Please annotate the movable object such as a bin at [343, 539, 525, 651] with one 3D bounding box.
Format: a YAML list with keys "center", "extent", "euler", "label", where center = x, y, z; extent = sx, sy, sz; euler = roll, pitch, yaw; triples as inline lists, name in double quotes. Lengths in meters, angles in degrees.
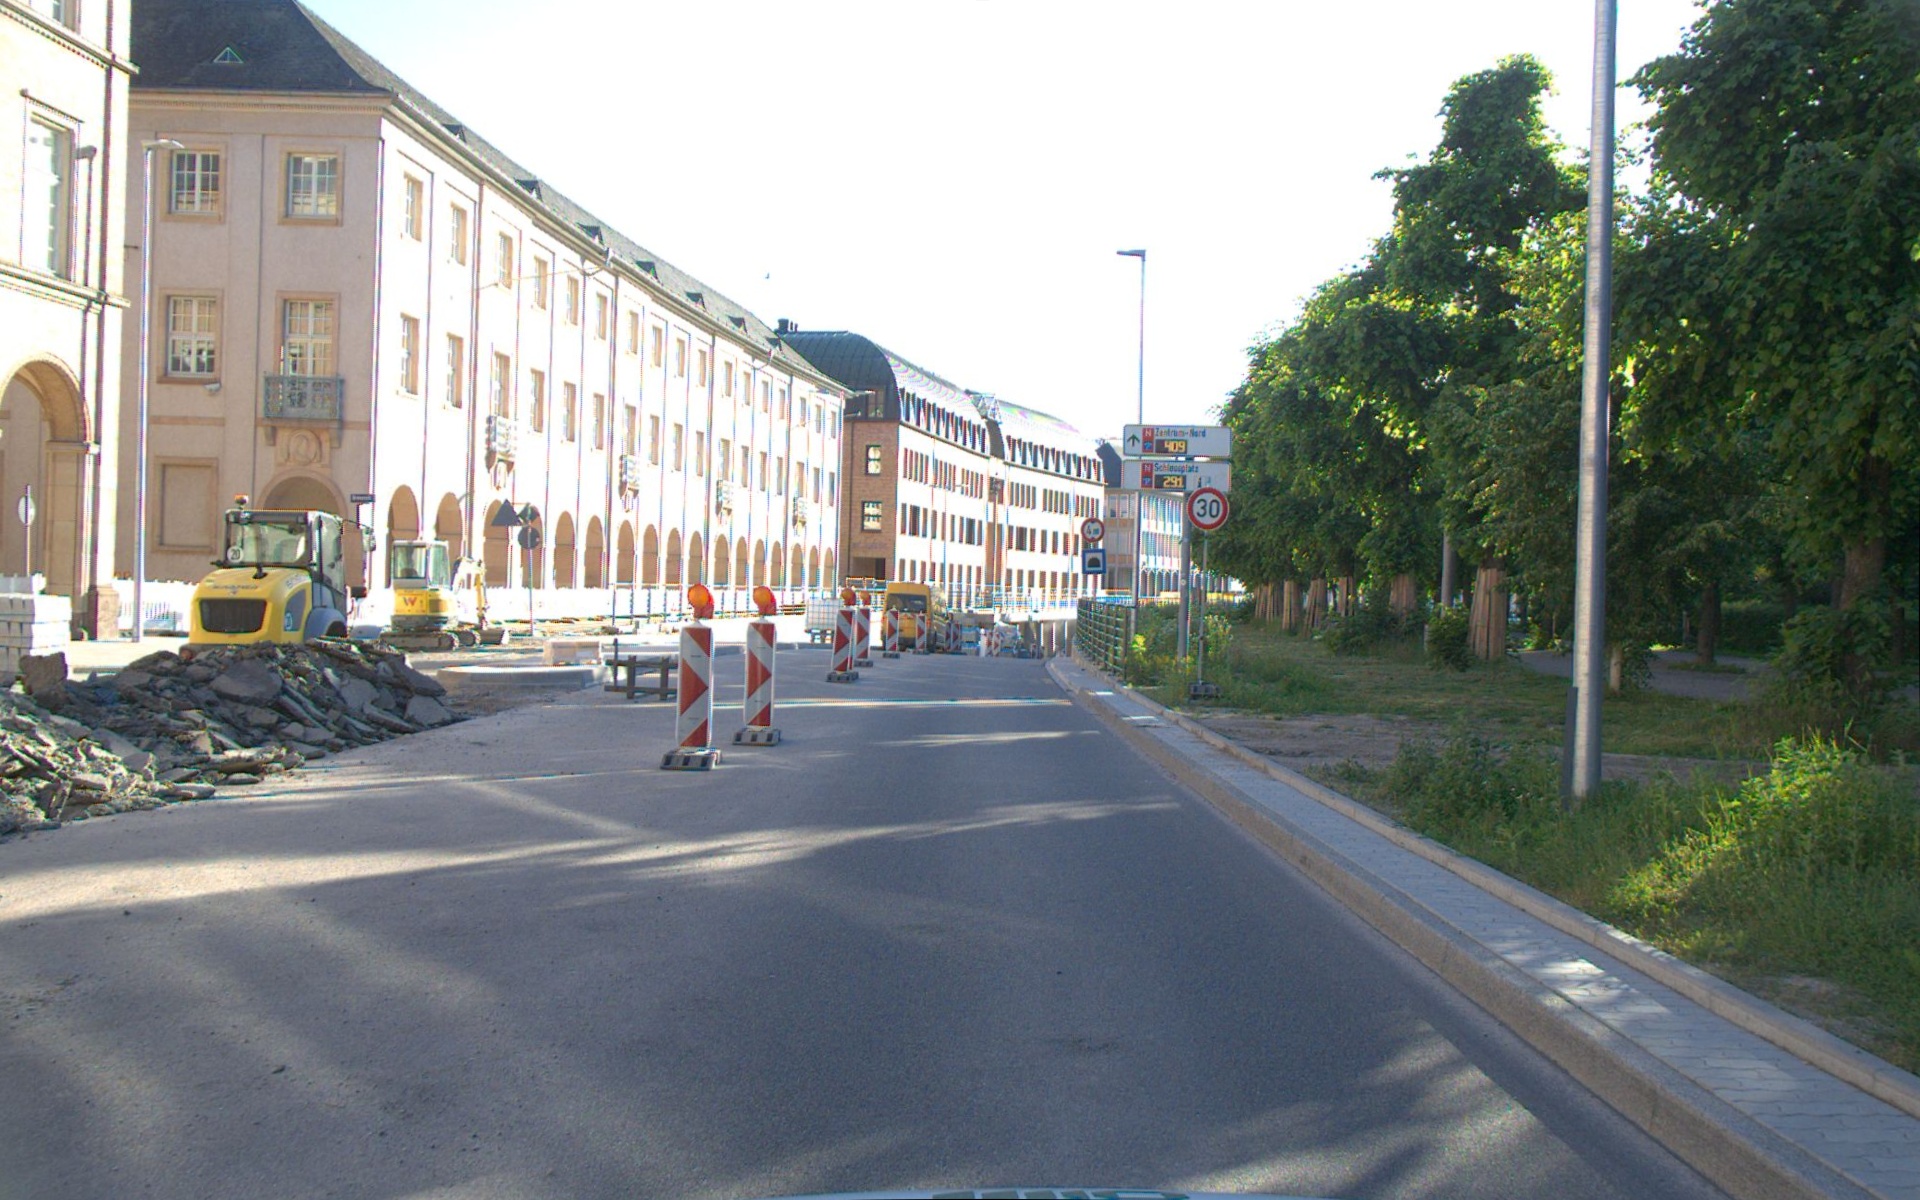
- center: [-12.150, -0.117, 38.595]
  extent: [2.492, 2.390, 4.462]
  euler: [1, 0, 4]
  label: "movable object such as a bin"

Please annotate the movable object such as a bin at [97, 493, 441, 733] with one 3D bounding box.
- center: [-8.170, 0.085, 20.115]
  extent: [2.031, 2.518, 4.619]
  euler: [2, 1, 2]
  label: "movable object such as a bin"

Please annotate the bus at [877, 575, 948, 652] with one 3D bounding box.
- center: [-1.766, 0.563, 63.067]
  extent: [2.029, 2.733, 4.686]
  euler: [2, -2, 6]
  label: "bus"
